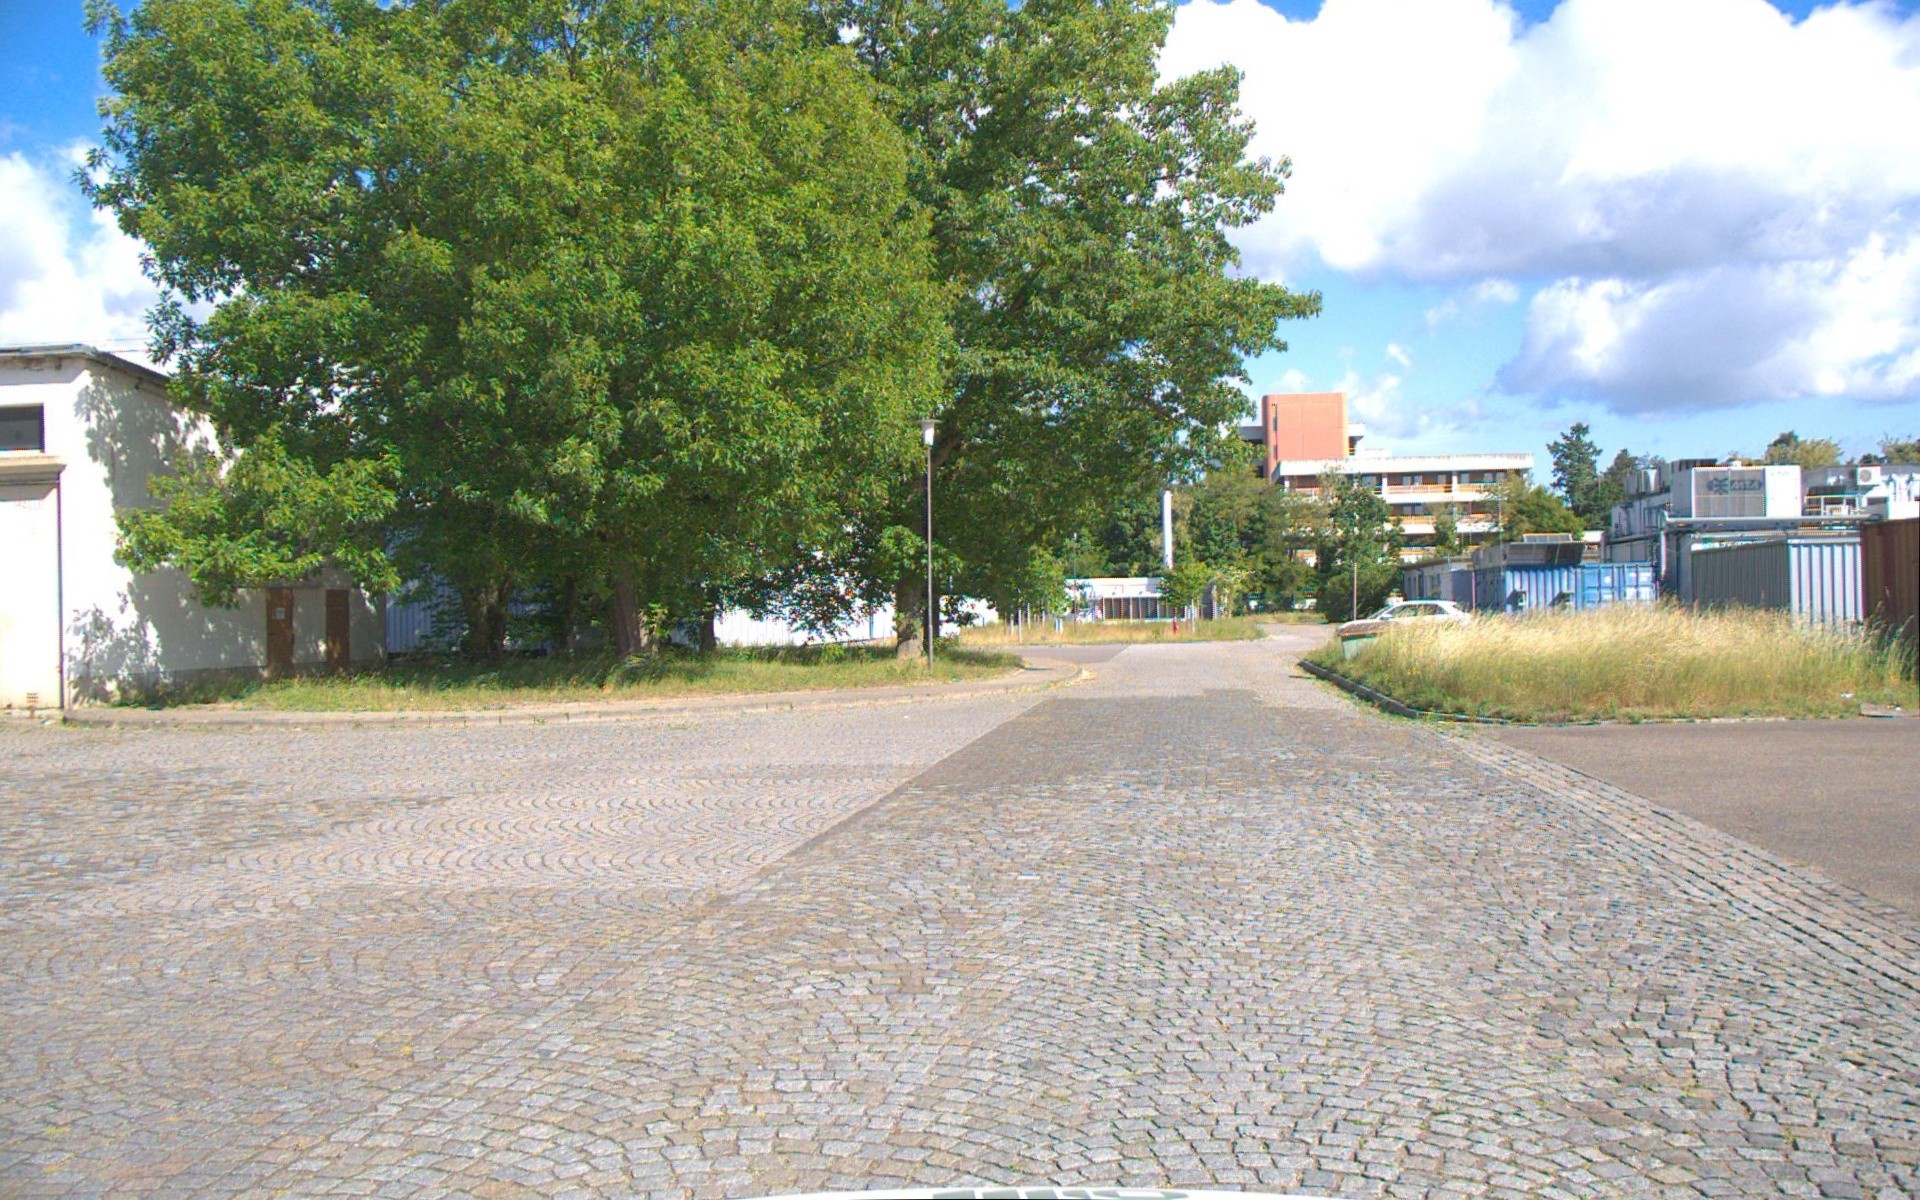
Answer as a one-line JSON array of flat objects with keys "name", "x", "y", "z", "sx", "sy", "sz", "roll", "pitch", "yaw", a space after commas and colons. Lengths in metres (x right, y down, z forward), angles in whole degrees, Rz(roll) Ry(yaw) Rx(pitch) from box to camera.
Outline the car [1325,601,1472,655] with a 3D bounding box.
[{"name": "car", "x": 14.487, "y": 0.913, "z": 54.849, "sx": 4.409, "sy": 1.676, "sz": 2.001, "roll": -1, "pitch": -1, "yaw": 6}]
